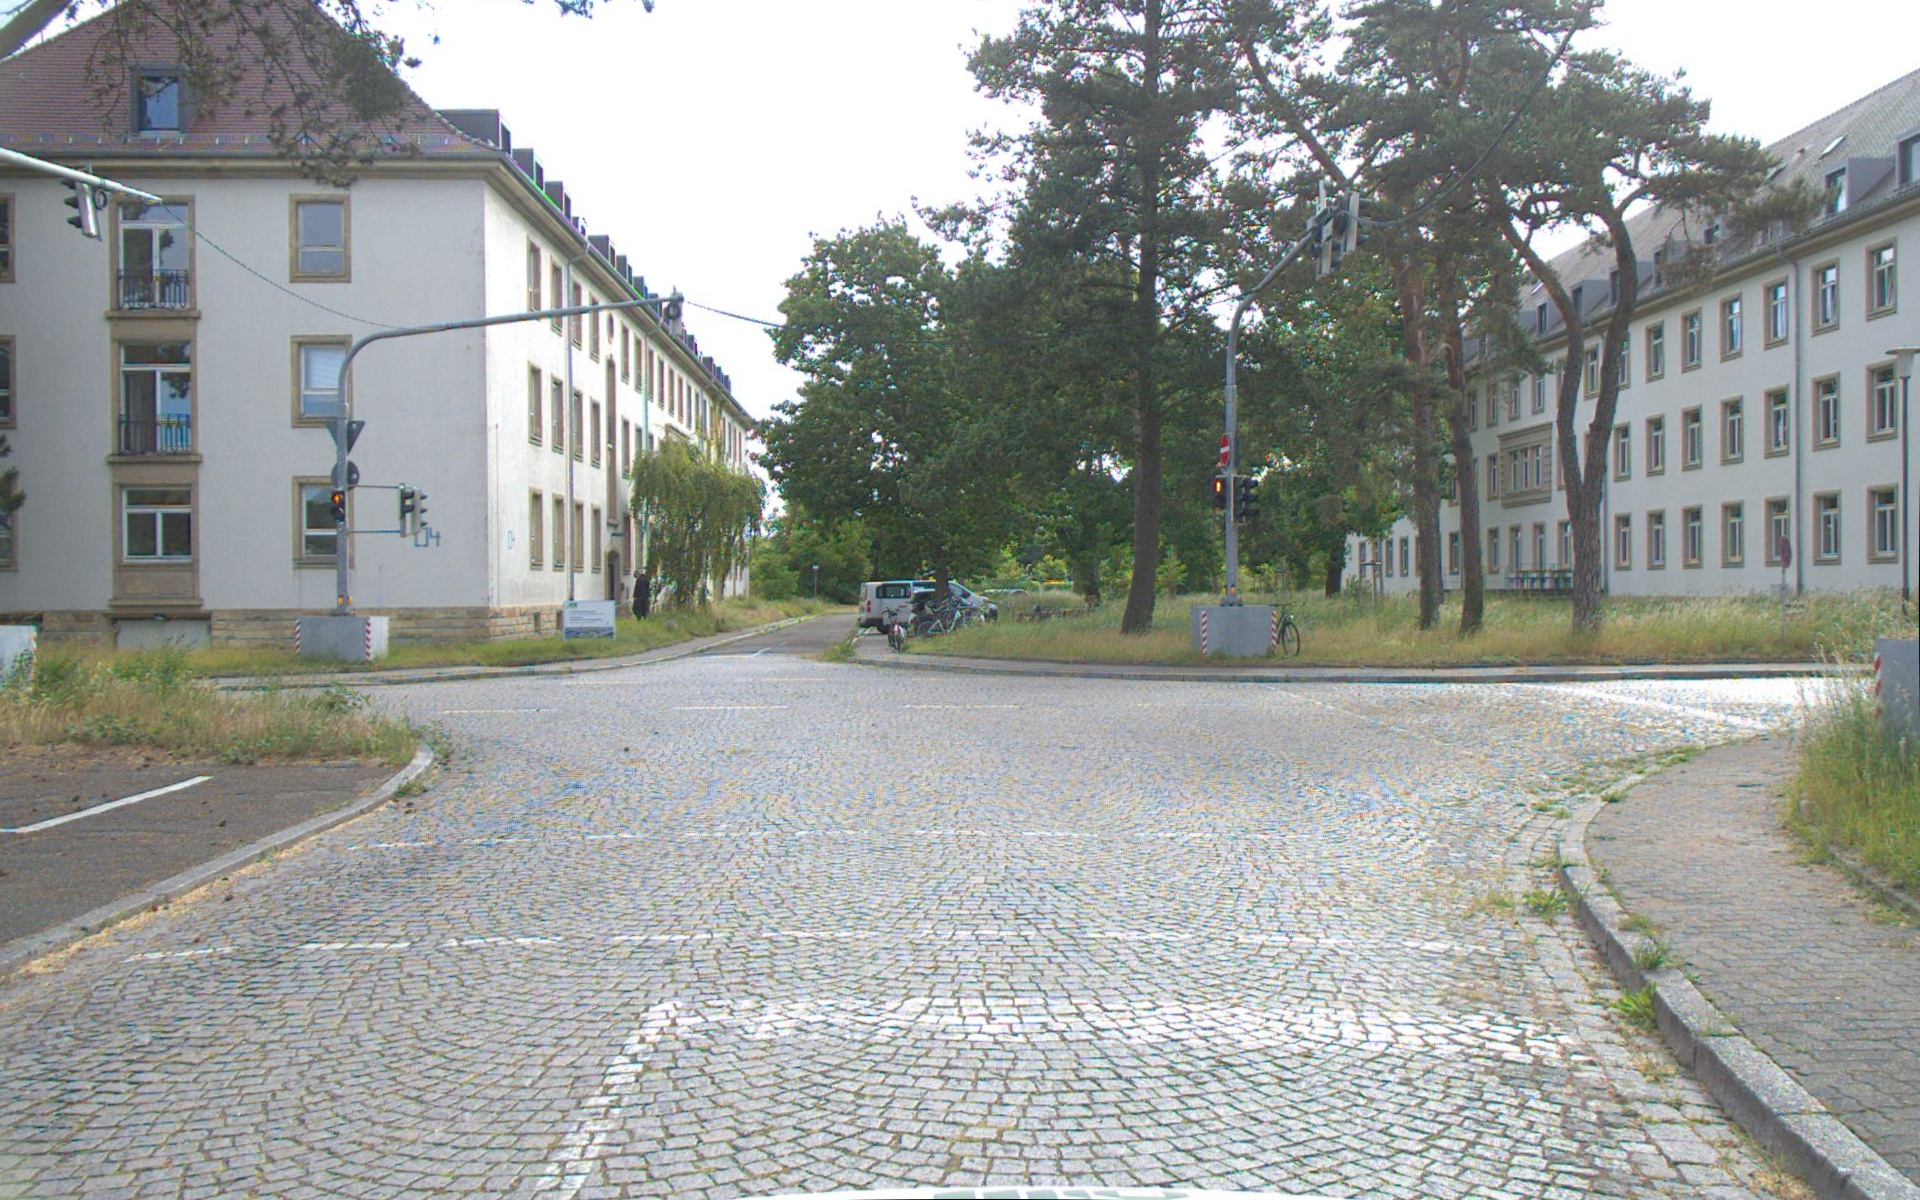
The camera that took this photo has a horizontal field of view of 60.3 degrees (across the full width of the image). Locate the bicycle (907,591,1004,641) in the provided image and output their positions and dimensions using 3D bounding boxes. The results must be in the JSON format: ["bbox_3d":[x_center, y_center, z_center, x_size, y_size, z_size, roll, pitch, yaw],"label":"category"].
[{"bbox_3d":[-0.148,0.456,47.362,2.746,1.396,0.950,0,0,-3],"label":"bicycle"}]

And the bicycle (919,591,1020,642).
[{"bbox_3d":[0.250,0.455,45.949,2.746,1.396,0.950,0,0,-3],"label":"bicycle"}]

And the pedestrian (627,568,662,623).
[{"bbox_3d":[-11.130,-0.141,58.247,1.173,1.902,1.545,1,0,-12],"label":"pedestrian"}]

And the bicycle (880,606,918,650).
[{"bbox_3d":[-1.487,0.673,40.090,0.882,1.014,1.978,0,0,-3],"label":"bicycle"}]

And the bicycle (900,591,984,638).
[{"bbox_3d":[-0.555,0.433,49.989,2.517,1.396,0.950,0,0,-3],"label":"bicycle"}]

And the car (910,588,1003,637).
[{"bbox_3d":[-0.146,0.434,58.135,3.160,1.649,1.936,1,0,-3],"label":"car"}]

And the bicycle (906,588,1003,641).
[{"bbox_3d":[-0.155,0.374,44.133,2.567,1.391,0.874,0,0,-3],"label":"bicycle"}]

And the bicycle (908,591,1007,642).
[{"bbox_3d":[-0.088,0.453,46.470,2.746,1.396,0.950,0,0,-3],"label":"bicycle"}]

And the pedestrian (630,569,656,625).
[{"bbox_3d":[-11.320,-0.093,59.073,0.850,1.966,0.834,1,0,-14],"label":"pedestrian"}]

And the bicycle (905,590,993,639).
[{"bbox_3d":[-0.324,0.429,48.319,2.517,1.396,0.950,0,0,-3],"label":"bicycle"}]

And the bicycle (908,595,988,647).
[{"bbox_3d":[-0.319,0.548,43.514,2.070,1.329,0.874,0,0,-3],"label":"bicycle"}]

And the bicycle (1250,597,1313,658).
[{"bbox_3d":[6.140,0.515,31.657,0.632,1.081,1.832,-4,0,-5],"label":"bicycle"}]

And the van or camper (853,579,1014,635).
[{"bbox_3d":[-0.993,0.257,61.616,5.645,1.991,2.229,-1,0,-15],"label":"van or camper"}]

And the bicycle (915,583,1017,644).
[{"bbox_3d":[0.155,0.353,45.014,2.746,1.611,0.950,0,0,-3],"label":"bicycle"}]

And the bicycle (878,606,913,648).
[{"bbox_3d":[-1.632,0.681,42.178,0.712,1.014,1.979,0,0,3],"label":"bicycle"}]
